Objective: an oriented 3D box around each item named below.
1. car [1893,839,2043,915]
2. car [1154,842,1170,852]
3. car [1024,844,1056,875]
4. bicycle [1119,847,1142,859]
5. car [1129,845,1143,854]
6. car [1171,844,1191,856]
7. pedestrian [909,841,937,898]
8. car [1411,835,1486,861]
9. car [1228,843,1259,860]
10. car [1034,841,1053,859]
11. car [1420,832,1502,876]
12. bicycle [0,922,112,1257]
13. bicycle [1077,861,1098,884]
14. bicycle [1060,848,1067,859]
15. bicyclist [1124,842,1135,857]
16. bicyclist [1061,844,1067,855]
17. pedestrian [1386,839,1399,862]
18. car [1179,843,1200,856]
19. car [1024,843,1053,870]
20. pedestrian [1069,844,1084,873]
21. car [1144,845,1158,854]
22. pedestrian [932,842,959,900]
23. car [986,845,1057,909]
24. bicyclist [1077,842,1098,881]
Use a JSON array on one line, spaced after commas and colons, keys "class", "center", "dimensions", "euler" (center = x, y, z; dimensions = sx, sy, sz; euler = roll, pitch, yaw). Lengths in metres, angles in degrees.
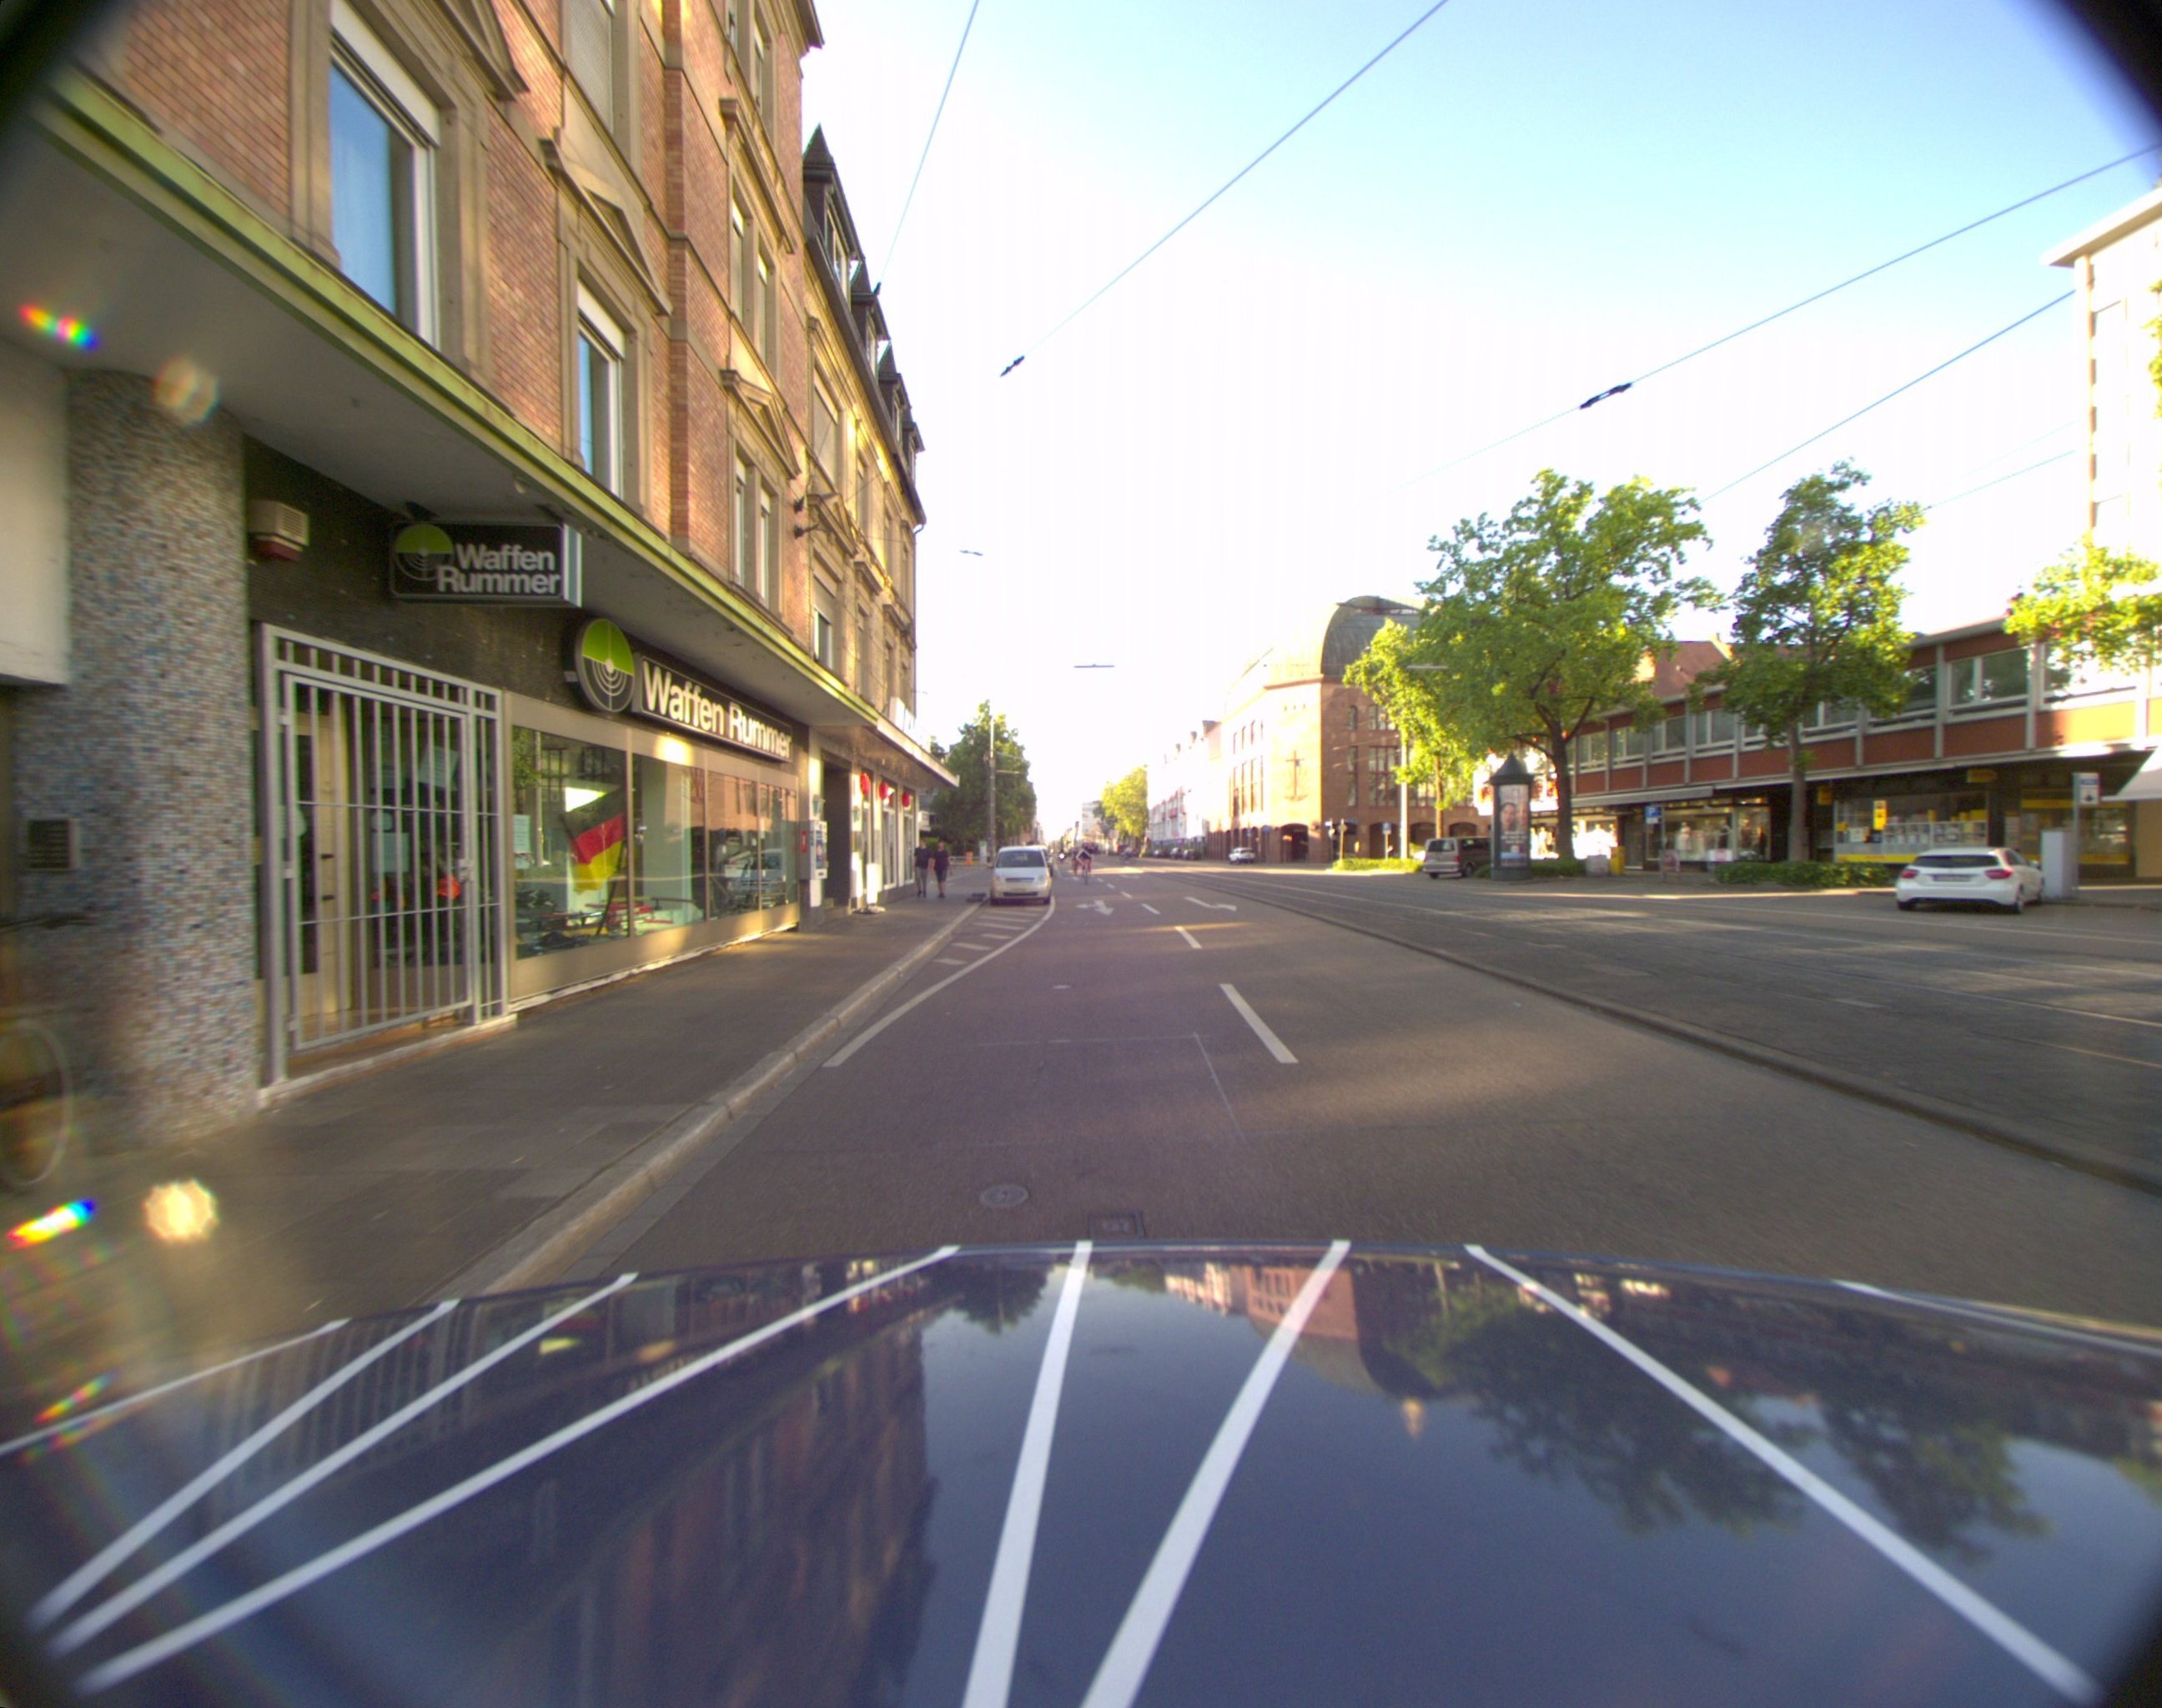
[{"class": "car", "center": [20.638, 0.460, 17.646], "dimensions": [4.006, 1.466, 1.793], "euler": [-3, 2, -33]}, {"class": "car", "center": [13.516, -1.139, 126.663], "dimensions": [1.965, 1.594, 3.997], "euler": [-2, 1, -4]}, {"class": "car", "center": [-2.337, 0.266, 44.233], "dimensions": [1.671, 1.674, 3.999], "euler": [-1, 1, 0]}, {"class": "bicycle", "center": [4.484, -0.069, 68.798], "dimensions": [2.033, 1.085, 0.674], "euler": [0, 1, 35]}, {"class": "car", "center": [9.927, -0.864, 138.098], "dimensions": [1.965, 1.594, 3.997], "euler": [-2, 1, -4]}, {"class": "car", "center": [14.163, -0.518, 107.736], "dimensions": [1.965, 1.594, 3.997], "euler": [-2, 1, -4]}, {"class": "pedestrian", "center": [-4.860, 0.466, 23.410], "dimensions": [0.701, 1.713, 0.681], "euler": [1, 1, -1]}, {"class": "car", "center": [28.830, -0.490, 59.670], "dimensions": [4.985, 2.002, 1.999], "euler": [-1, 1, -4]}, {"class": "car", "center": [15.848, -0.263, 74.276], "dimensions": [1.911, 1.594, 3.997], "euler": [-2, 1, -4]}, {"class": "car", "center": [-3.588, -0.398, 73.840], "dimensions": [1.671, 1.674, 3.999], "euler": [-1, 1, 0]}, {"class": "car", "center": [18.283, -0.028, 36.467], "dimensions": [4.007, 1.953, 1.906], "euler": [-3, 2, -37]}, {"class": "bicycle", "center": [-4.360, 0.948, 2.522], "dimensions": [0.669, 1.246, 1.890], "euler": [-1, 1, -28]}, {"class": "bicycle", "center": [0.295, 0.787, 33.417], "dimensions": [0.886, 0.949, 1.765], "euler": [-1, 1, 1]}, {"class": "bicycle", "center": [-1.849, -0.032, 80.708], "dimensions": [0.646, 1.176, 1.803], "euler": [-1, 1, -5]}, {"class": "bicyclist", "center": [4.419, -0.414, 68.832], "dimensions": [0.761, 1.414, 0.674], "euler": [0, 2, 35]}, {"class": "bicyclist", "center": [-1.803, -0.465, 80.829], "dimensions": [0.646, 1.176, 0.722], "euler": [-1, 1, -5]}, {"class": "pedestrian", "center": [23.551, -0.278, 57.498], "dimensions": [0.790, 1.737, 0.548], "euler": [0, 1, 1]}, {"class": "car", "center": [14.458, -0.570, 101.206], "dimensions": [1.965, 1.594, 3.997], "euler": [-2, 1, -4]}, {"class": "car", "center": [-2.747, 0.152, 49.651], "dimensions": [1.671, 1.674, 3.999], "euler": [-1, 1, 0]}, {"class": "pedestrian", "center": [-0.242, 0.241, 44.063], "dimensions": [0.849, 1.652, 0.850], "euler": [-1, 1, 1]}, {"class": "car", "center": [13.160, -0.837, 142.909], "dimensions": [1.965, 1.594, 3.997], "euler": [-2, 1, -4]}, {"class": "pedestrian", "center": [-4.128, 0.512, 23.196], "dimensions": [0.701, 1.713, 0.502], "euler": [1, 1, -1]}, {"class": "car", "center": [-1.634, 0.580, 22.186], "dimensions": [1.671, 1.674, 3.999], "euler": [-1, 1, 1]}, {"class": "bicyclist", "center": [0.293, 0.321, 33.469], "dimensions": [0.886, 1.651, 0.803], "euler": [-1, 1, 1]}]
